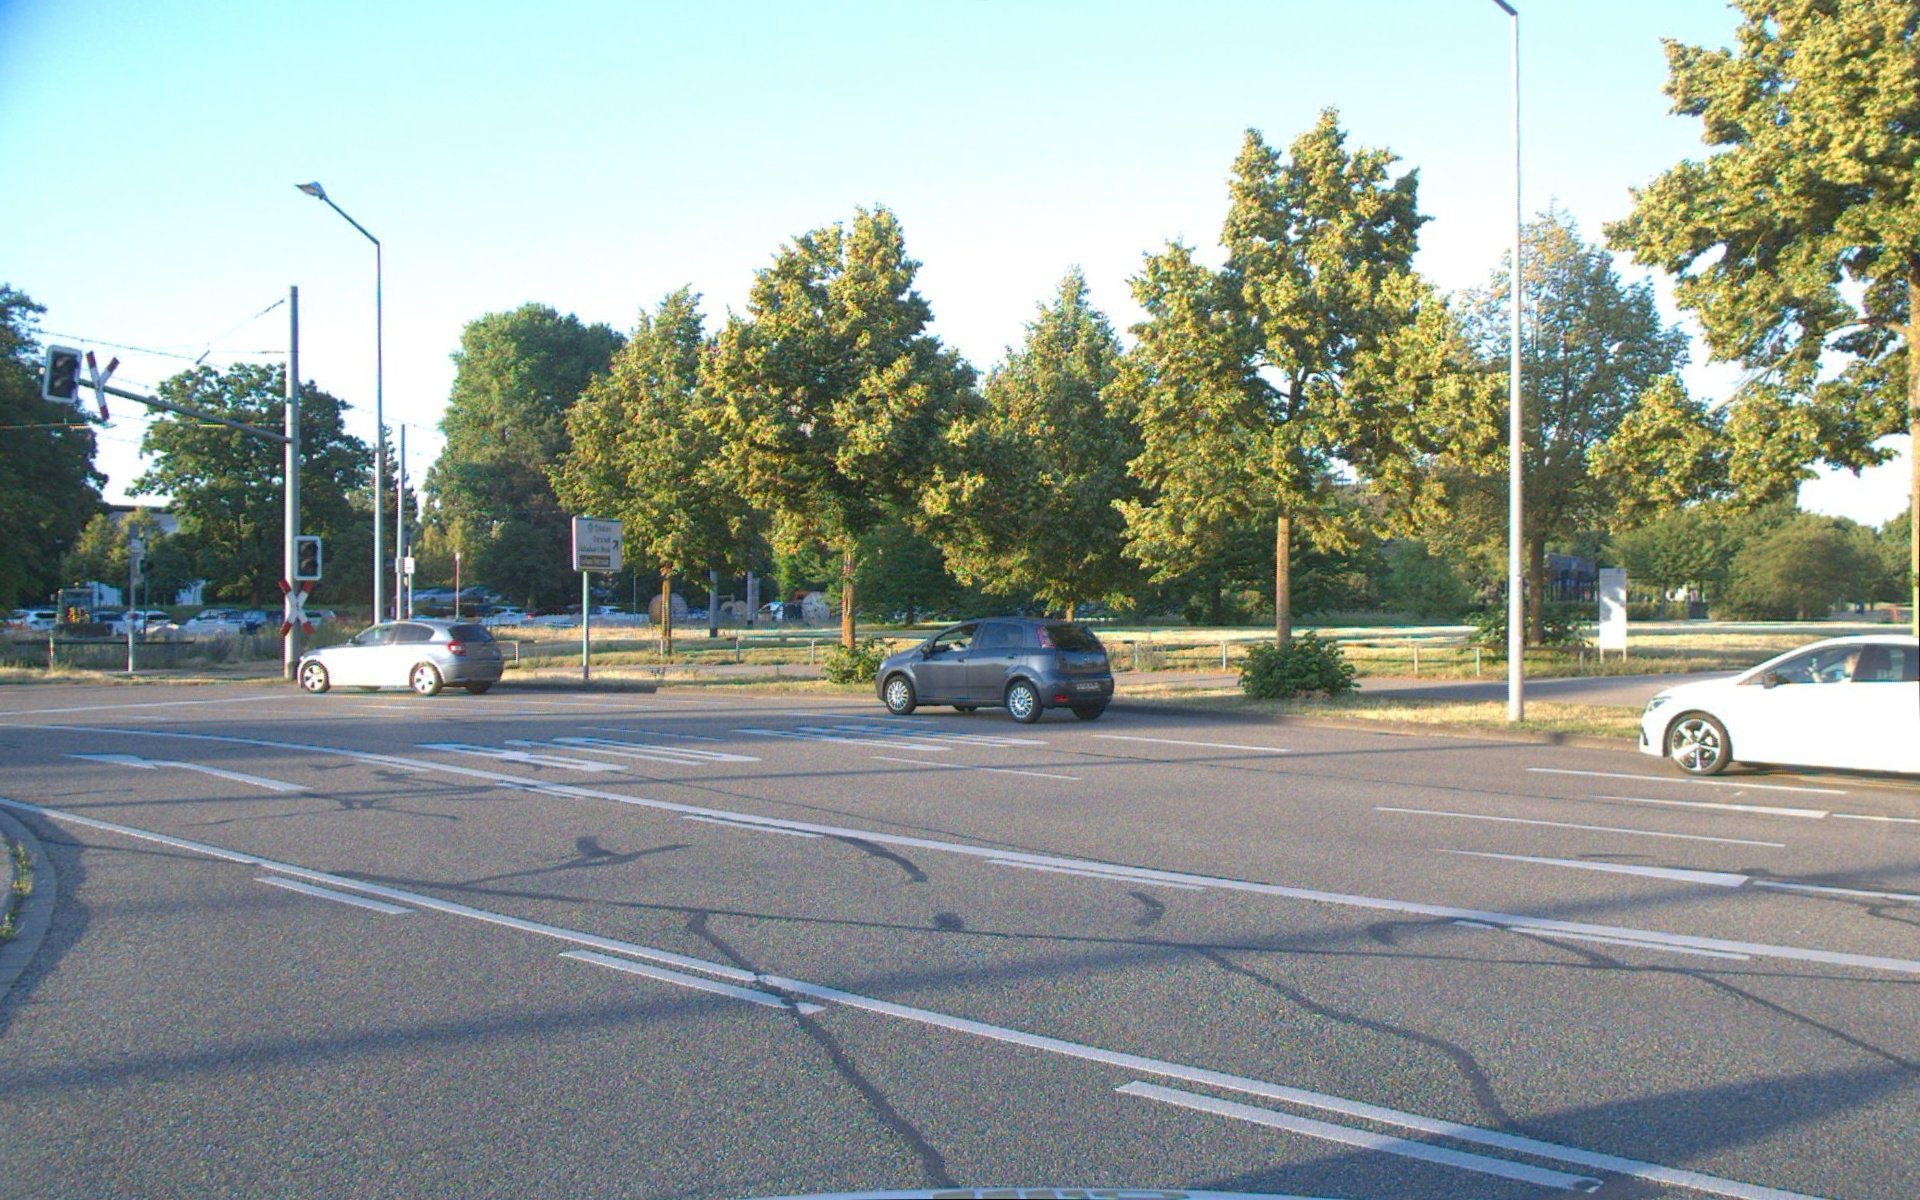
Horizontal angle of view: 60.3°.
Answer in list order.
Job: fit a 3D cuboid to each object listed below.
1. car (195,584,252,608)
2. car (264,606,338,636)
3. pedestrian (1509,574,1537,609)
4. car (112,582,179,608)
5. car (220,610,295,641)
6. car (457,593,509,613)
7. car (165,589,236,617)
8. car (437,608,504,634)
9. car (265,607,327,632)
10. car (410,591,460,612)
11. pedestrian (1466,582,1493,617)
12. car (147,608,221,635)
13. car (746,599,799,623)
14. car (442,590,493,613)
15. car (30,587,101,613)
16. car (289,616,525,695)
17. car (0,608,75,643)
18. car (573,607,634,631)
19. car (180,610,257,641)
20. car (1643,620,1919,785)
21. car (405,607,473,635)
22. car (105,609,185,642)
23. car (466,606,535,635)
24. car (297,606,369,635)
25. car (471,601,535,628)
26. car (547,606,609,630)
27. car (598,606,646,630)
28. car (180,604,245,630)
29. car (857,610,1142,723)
[{"bbox_3d":[-63.384,-0.325,142.374,1.958,2.049,4.105,0,0,33],"label":"car"},{"bbox_3d":[-37.395,1.166,93.885,3.915,1.632,1.995,0,0,32],"label":"car"},{"bbox_3d":[26.926,-0.413,79.173,1.047,1.646,0.911,0,0,2],"label":"pedestrian"},{"bbox_3d":[-67.126,-0.413,136.352,1.958,2.049,4.585,0,0,33],"label":"car"},{"bbox_3d":[-39.095,1.394,92.059,3.915,1.632,1.995,0,0,32],"label":"car"},{"bbox_3d":[-41.698,0.296,144.739,3.902,1.736,2.001,0,0,6],"label":"car"},{"bbox_3d":[-56.655,0.239,123.504,1.956,2.049,4.590,0,0,29],"label":"car"},{"bbox_3d":[-30.983,1.322,104.701,3.915,1.632,1.995,0,0,32],"label":"car"},{"bbox_3d":[-45.824,1.319,114.126,3.933,1.691,1.889,0,0,-23],"label":"car"},{"bbox_3d":[-47.960,0.114,151.078,1.959,1.847,3.987,0,0,34],"label":"car"},{"bbox_3d":[24.963,-0.035,79.481,1.047,1.646,0.911,0,0,2],"label":"pedestrian"},{"bbox_3d":[-50.237,1.369,107.098,1.863,1.691,3.987,0,0,34],"label":"car"},{"bbox_3d":[-13.010,0.759,114.689,1.724,1.646,3.940,0,0,-41],"label":"car"},{"bbox_3d":[-44.099,0.110,148.251,1.963,2.049,3.979,0,0,40],"label":"car"},{"bbox_3d":[-70.542,-0.024,130.478,1.956,2.049,4.590,0,0,29],"label":"car"},{"bbox_3d":[-10.623,1.022,31.806,4.064,1.414,1.868,0,0,22],"label":"car"},{"bbox_3d":[-45.631,1.237,81.449,3.915,1.632,1.995,0,0,32],"label":"car"},{"bbox_3d":[-24.908,1.321,115.440,3.915,1.632,1.995,0,0,32],"label":"car"},{"bbox_3d":[-40.537,1.362,90.392,3.915,1.632,1.995,0,0,32],"label":"car"},{"bbox_3d":[9.029,0.957,16.235,1.853,1.479,3.907,0,0,-44],"label":"car"},{"bbox_3d":[-32.317,1.290,102.563,3.915,1.632,1.995,0,0,32],"label":"car"},{"bbox_3d":[-42.261,1.313,85.802,3.915,1.632,1.995,0,0,32],"label":"car"},{"bbox_3d":[-32.532,1.440,117.171,4.499,2.049,1.996,0,0,-9],"label":"car"},{"bbox_3d":[-36.451,1.191,96.103,3.915,1.632,1.995,0,0,32],"label":"car"},{"bbox_3d":[-34.601,1.084,125.278,4.499,2.049,1.996,0,0,-9],"label":"car"},{"bbox_3d":[-26.277,1.235,113.690,3.915,1.632,1.995,0,0,32],"label":"car"},{"bbox_3d":[-26.372,1.392,128.895,1.979,1.782,4.538,0,1,-37],"label":"car"},{"bbox_3d":[-50.568,1.108,111.885,3.939,1.691,1.983,0,0,-27],"label":"car"},{"bbox_3d":[0.529,0.927,24.781,4.090,1.479,1.856,0,1,43],"label":"car"}]
